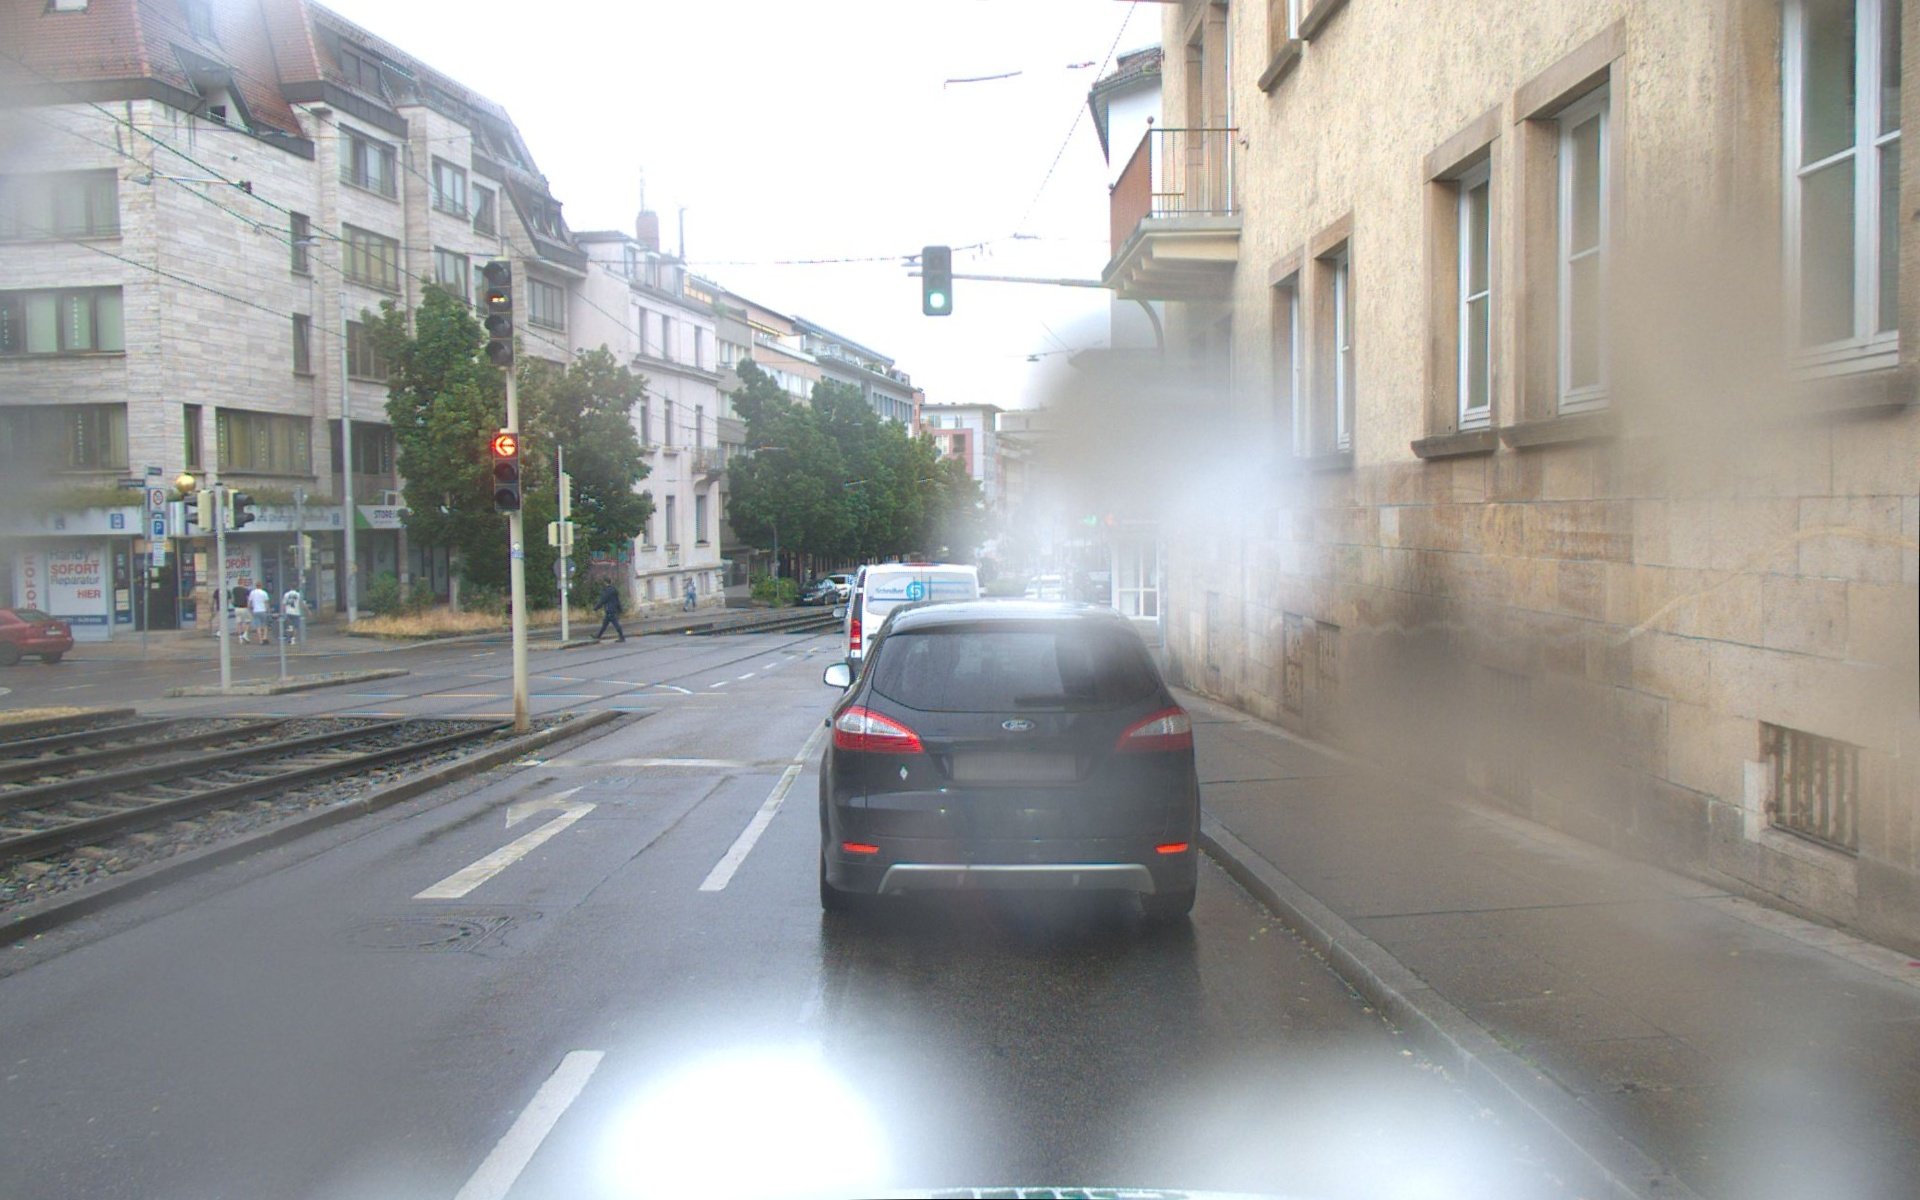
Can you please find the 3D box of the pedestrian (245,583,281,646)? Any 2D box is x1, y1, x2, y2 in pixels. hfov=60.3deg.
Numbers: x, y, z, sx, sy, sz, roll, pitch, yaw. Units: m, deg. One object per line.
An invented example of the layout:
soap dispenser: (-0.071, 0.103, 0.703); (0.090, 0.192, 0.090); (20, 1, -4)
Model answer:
pedestrian: (-19.524, 0.400, 46.348); (0.634, 1.754, 0.684); (1, 0, 7)

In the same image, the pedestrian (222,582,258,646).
pedestrian: (-20.189, 0.393, 46.396); (0.634, 1.780, 0.684); (1, 0, 7)

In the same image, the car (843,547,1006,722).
car: (-0.496, 0.423, 22.309); (1.948, 2.096, 4.643); (1, 0, -2)

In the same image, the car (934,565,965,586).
car: (-0.834, -2.050, 138.726); (1.816, 1.665, 4.939); (0, 0, 9)

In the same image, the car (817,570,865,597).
car: (-7.084, -0.958, 99.272); (1.816, 1.576, 4.725); (0, 0, 9)

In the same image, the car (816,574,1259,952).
car: (0.286, 0.677, 8.793); (1.805, 1.533, 3.999); (1, 0, -1)

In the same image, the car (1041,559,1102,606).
car: (4.235, -0.632, 62.213); (1.806, 1.661, 4.590); (-1, 0, 9)

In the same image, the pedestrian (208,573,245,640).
pedestrian: (-20.985, 0.190, 47.326); (0.634, 1.875, 0.684); (1, 0, 7)

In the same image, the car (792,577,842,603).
car: (-8.040, -0.520, 93.276); (1.657, 1.402, 4.724); (0, 0, 9)

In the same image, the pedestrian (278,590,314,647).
pedestrian: (-18.644, 0.512, 46.437); (0.634, 1.576, 0.684); (1, 0, 7)

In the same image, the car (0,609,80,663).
car: (-24.429, 0.909, 41.831); (3.614, 1.341, 1.595); (-1, -1, 11)

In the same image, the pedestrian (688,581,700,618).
pedestrian: (-12.352, -0.009, 76.761); (0.458, 1.681, 0.582); (1, 0, -3)

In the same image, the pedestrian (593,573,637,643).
pedestrian: (-9.320, 0.212, 44.735); (0.911, 1.862, 0.959); (1, 0, 1)

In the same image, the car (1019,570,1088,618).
car: (3.179, -0.199, 55.476); (1.763, 1.481, 4.590); (-2, 0, 9)
